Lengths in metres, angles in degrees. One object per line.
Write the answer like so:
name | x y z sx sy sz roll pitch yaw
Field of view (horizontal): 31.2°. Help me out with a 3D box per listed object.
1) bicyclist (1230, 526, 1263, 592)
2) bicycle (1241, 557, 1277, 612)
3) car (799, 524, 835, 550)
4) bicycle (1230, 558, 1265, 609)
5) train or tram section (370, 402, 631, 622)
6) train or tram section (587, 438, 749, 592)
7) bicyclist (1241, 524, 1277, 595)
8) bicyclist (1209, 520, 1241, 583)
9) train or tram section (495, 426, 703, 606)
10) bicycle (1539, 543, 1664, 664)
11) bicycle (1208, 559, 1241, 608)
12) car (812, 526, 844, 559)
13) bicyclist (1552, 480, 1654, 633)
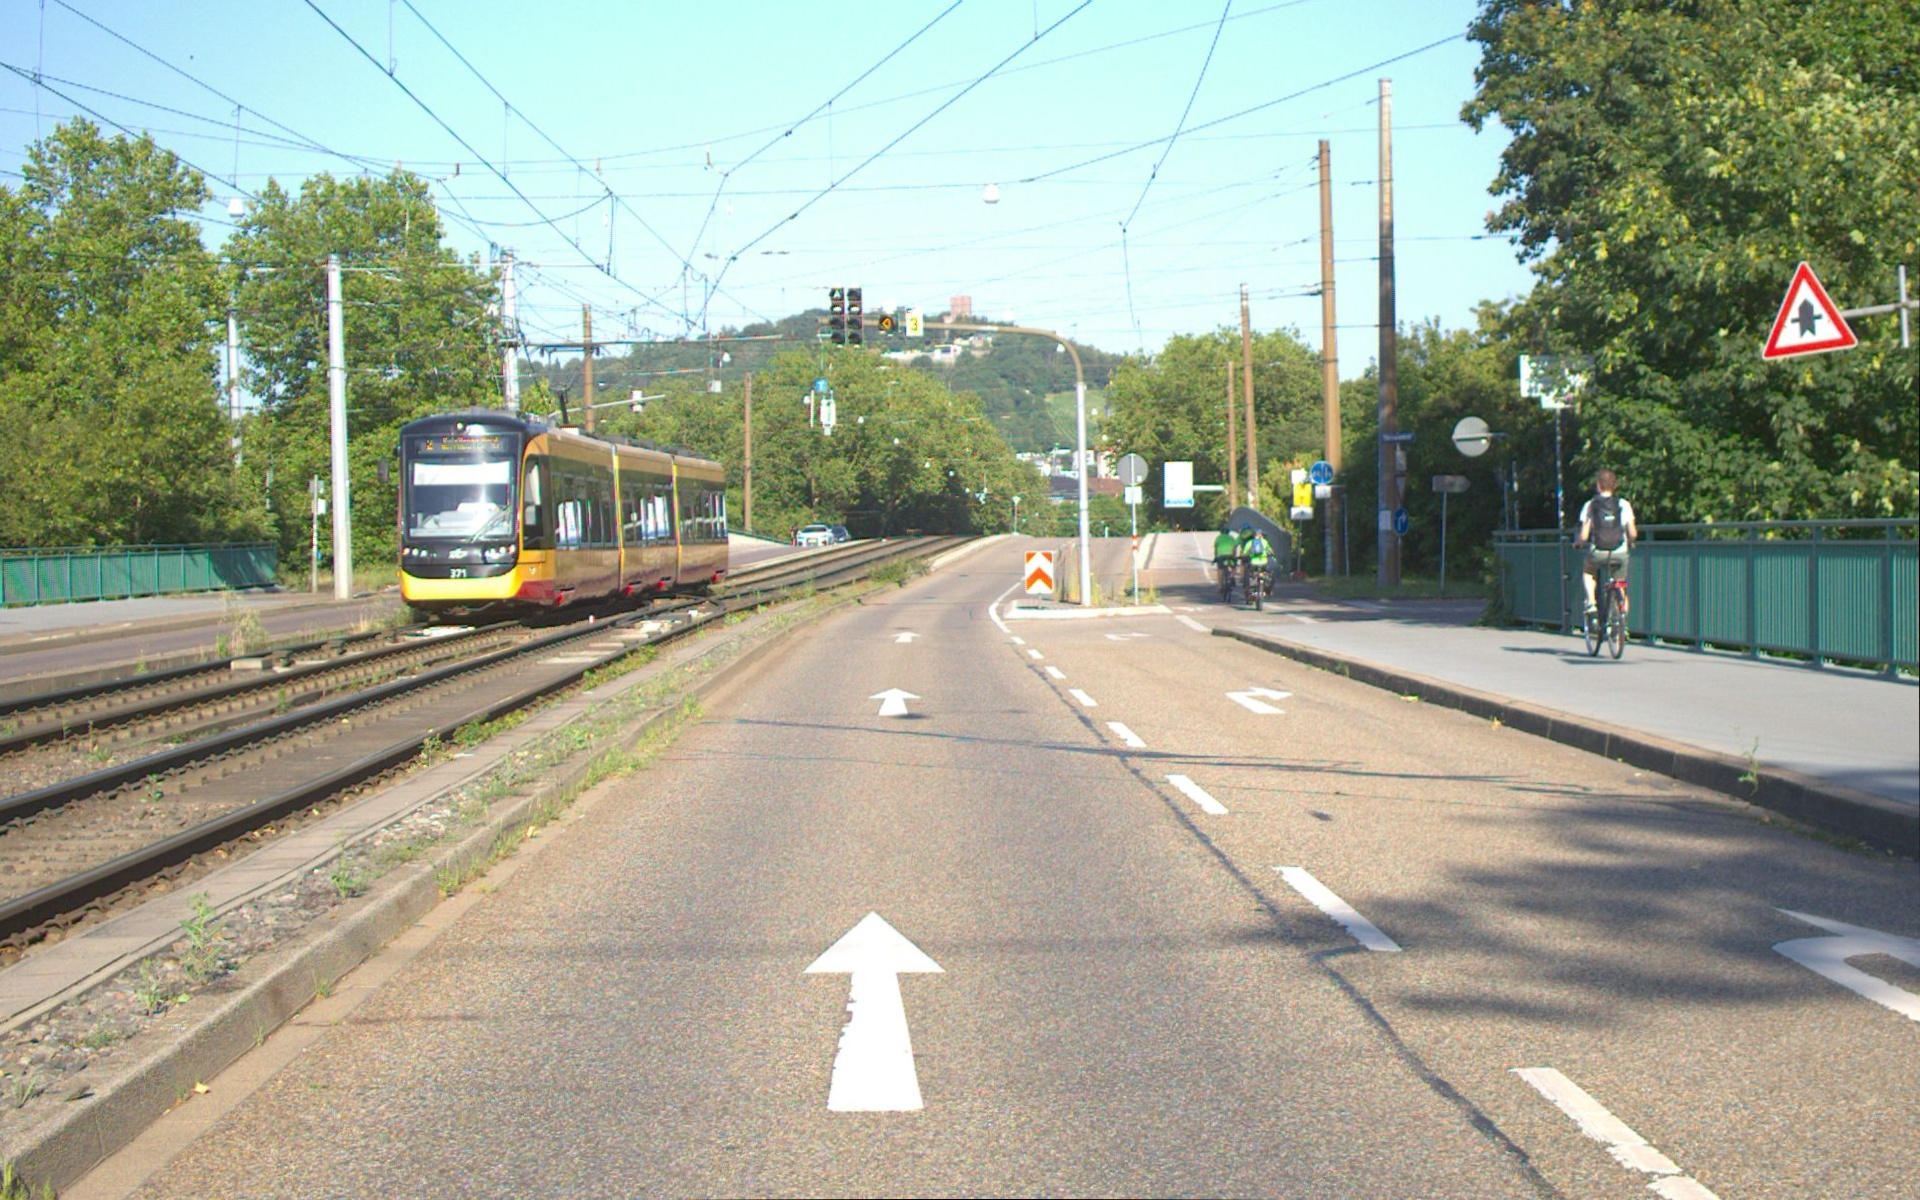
bicyclist | 6.022 -0.860 72.305 0.604 1.374 0.975 -1 1 -1
bicycle | 5.889 -0.314 67.797 0.515 1.038 1.975 -1 1 -1
car | -8.238 -3.657 198.725 1.950 1.481 4.000 -1 1 -1
bicycle | 6.037 -0.345 72.295 0.539 1.038 1.975 -1 1 -1
train or tram section | -8.022 -1.539 61.538 2.644 3.554 10.831 -1 1 3
train or tram section | -6.876 -2.004 82.155 2.644 3.460 8.894 -1 1 3
bicyclist | 5.893 -0.804 67.723 0.604 1.374 0.975 -1 1 -1
bicyclist | 5.816 -1.061 75.581 0.604 1.374 0.975 -1 1 -1
train or tram section | -7.435 -1.745 72.330 2.644 3.464 10.831 -1 1 3
bicycle | 6.502 0.015 34.991 0.727 1.172 2.695 -1 1 -1
bicycle | 5.818 -0.372 75.556 0.539 1.038 1.975 -1 1 -1
car | -8.079 -3.530 210.606 1.788 2.007 4.000 -1 1 -1
bicyclist | 6.499 -0.442 34.764 0.824 1.515 0.975 -1 1 -1
